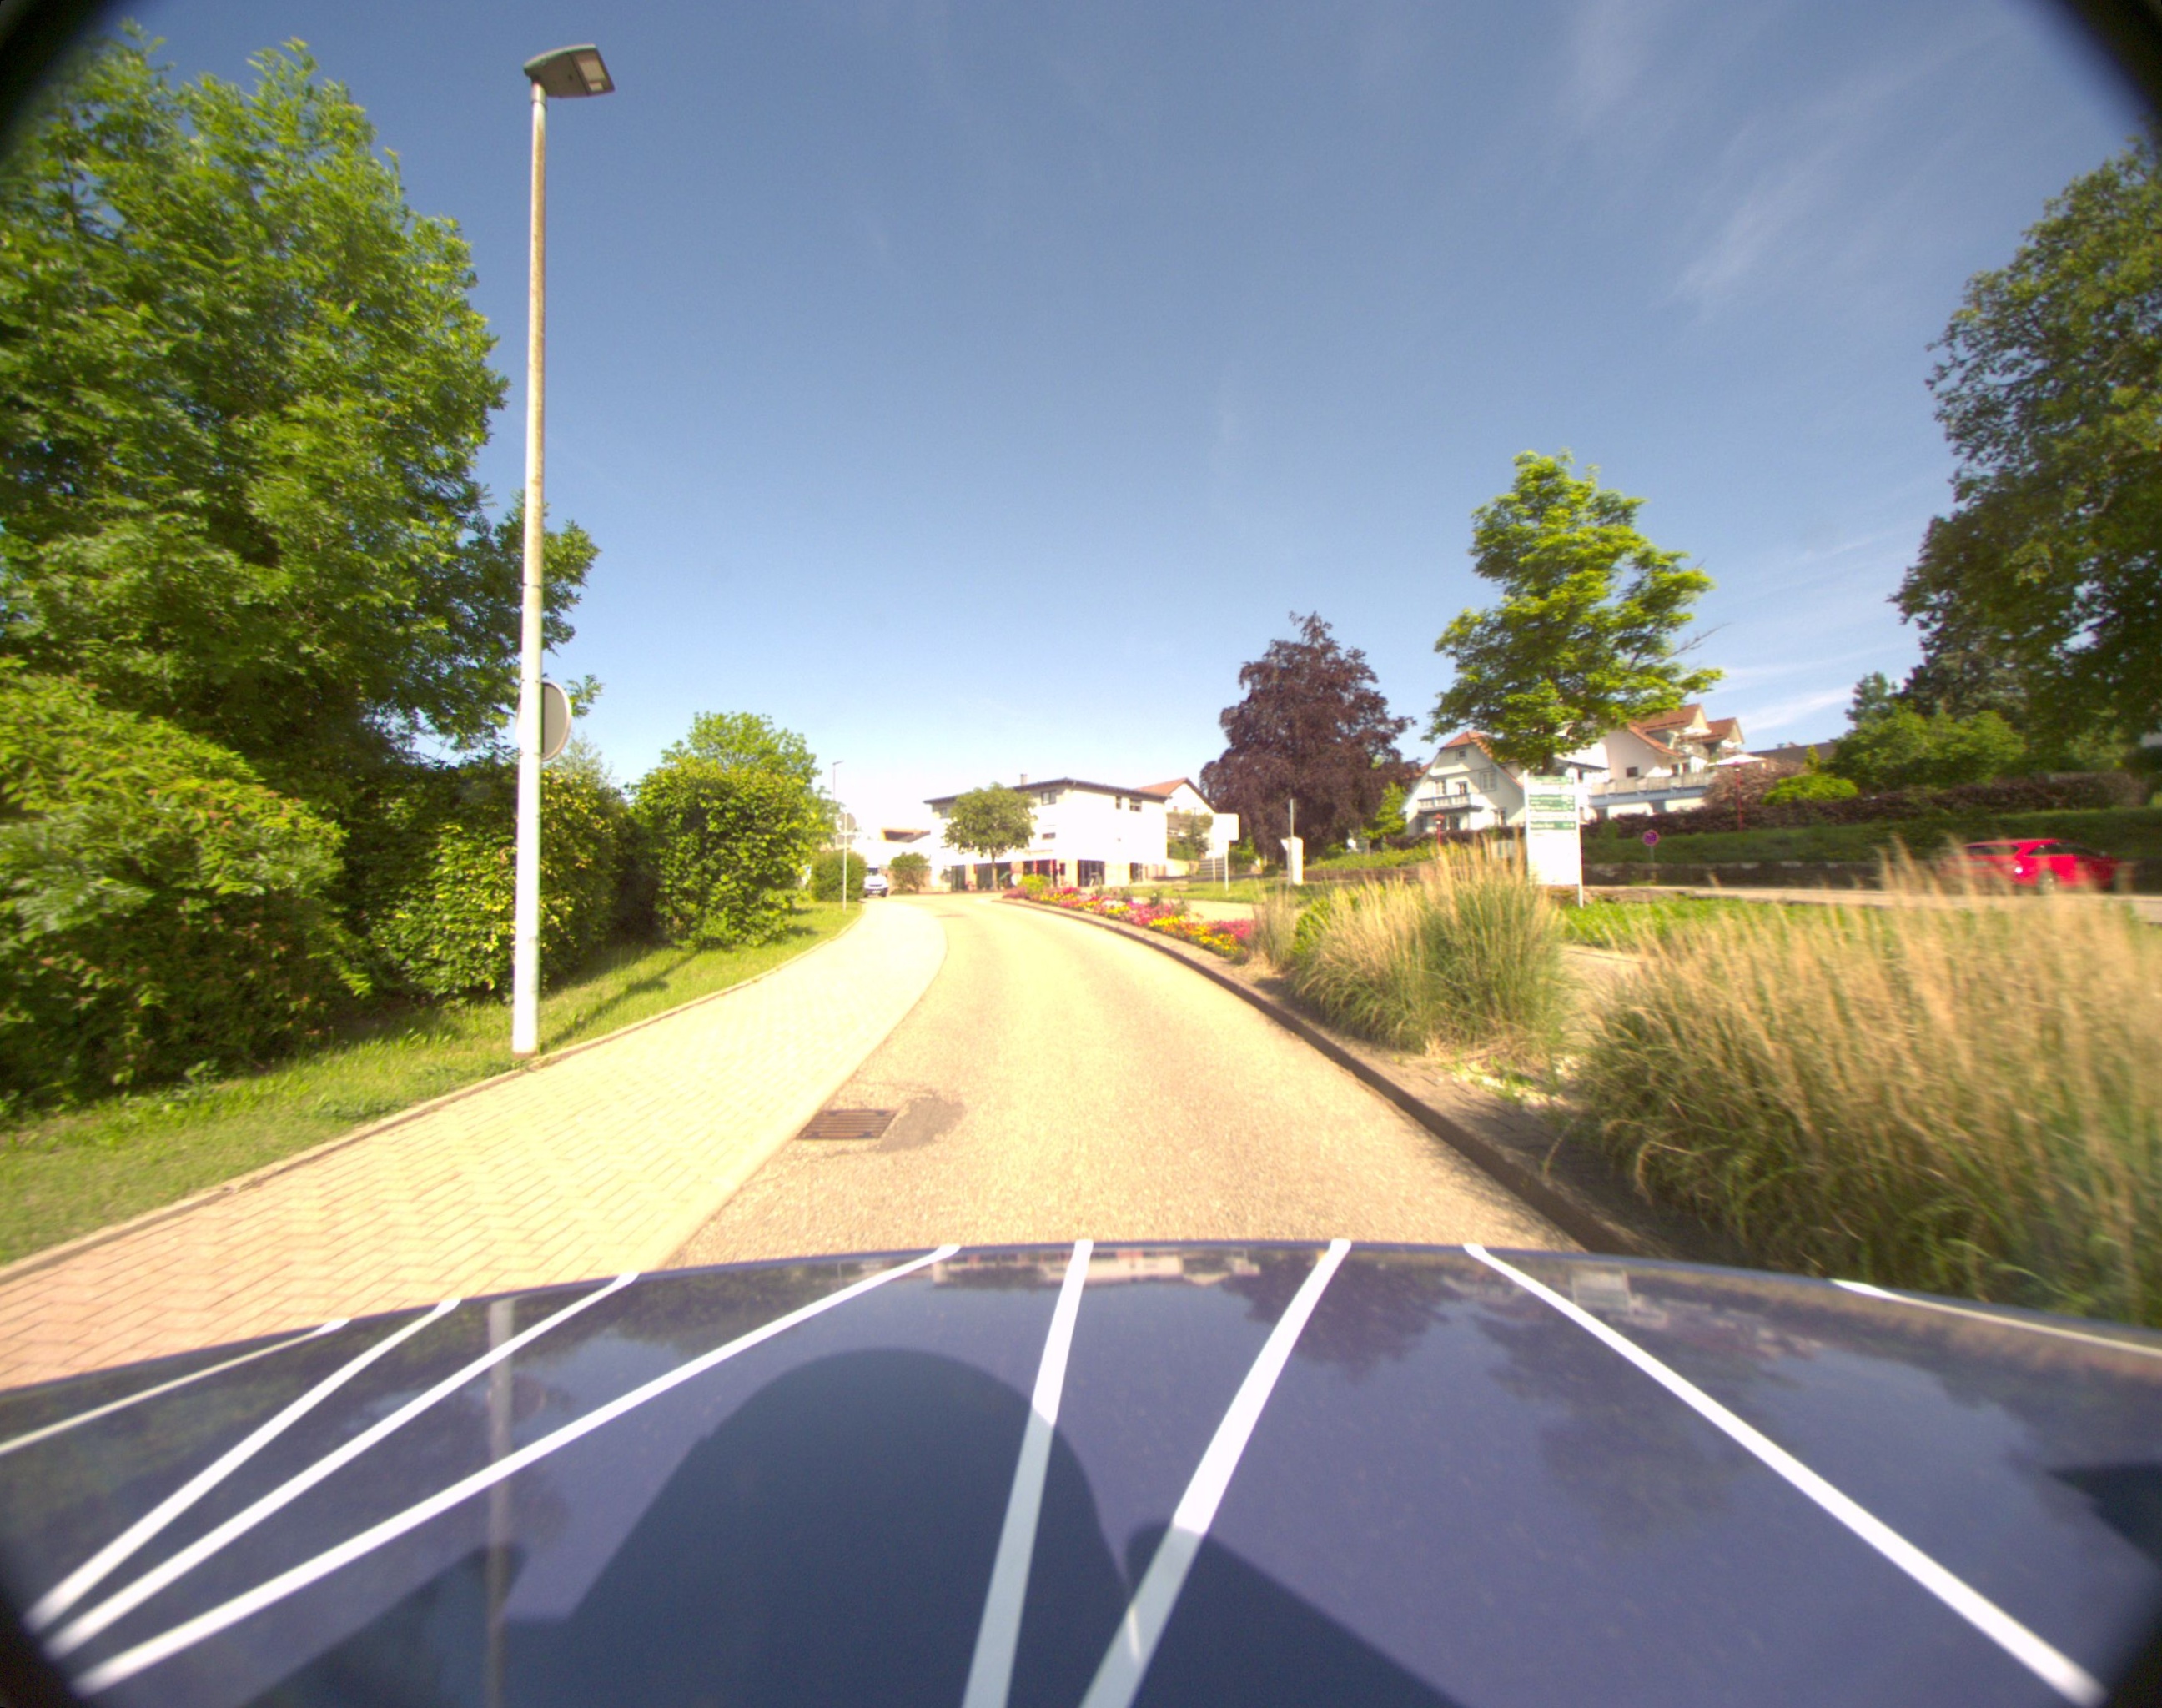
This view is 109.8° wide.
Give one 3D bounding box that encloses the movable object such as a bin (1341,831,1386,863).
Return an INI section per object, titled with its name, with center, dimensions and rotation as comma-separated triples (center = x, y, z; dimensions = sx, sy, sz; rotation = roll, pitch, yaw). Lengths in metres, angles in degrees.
[movable object such as a bin]
center = 26.202, -0.649, 70.407
dimensions = 1.995, 2.753, 5.114
rotation = -3, 0, 43

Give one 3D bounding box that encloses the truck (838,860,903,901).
[truck]
center = -14.294, 1.849, 51.346
dimensions = 2.003, 2.327, 6.481
rotation = -4, -2, -35

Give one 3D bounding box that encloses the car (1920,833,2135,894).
[car]
center = 24.925, 0.249, 20.055
dimensions = 4.239, 1.390, 1.822
rotation = -2, -1, -12
